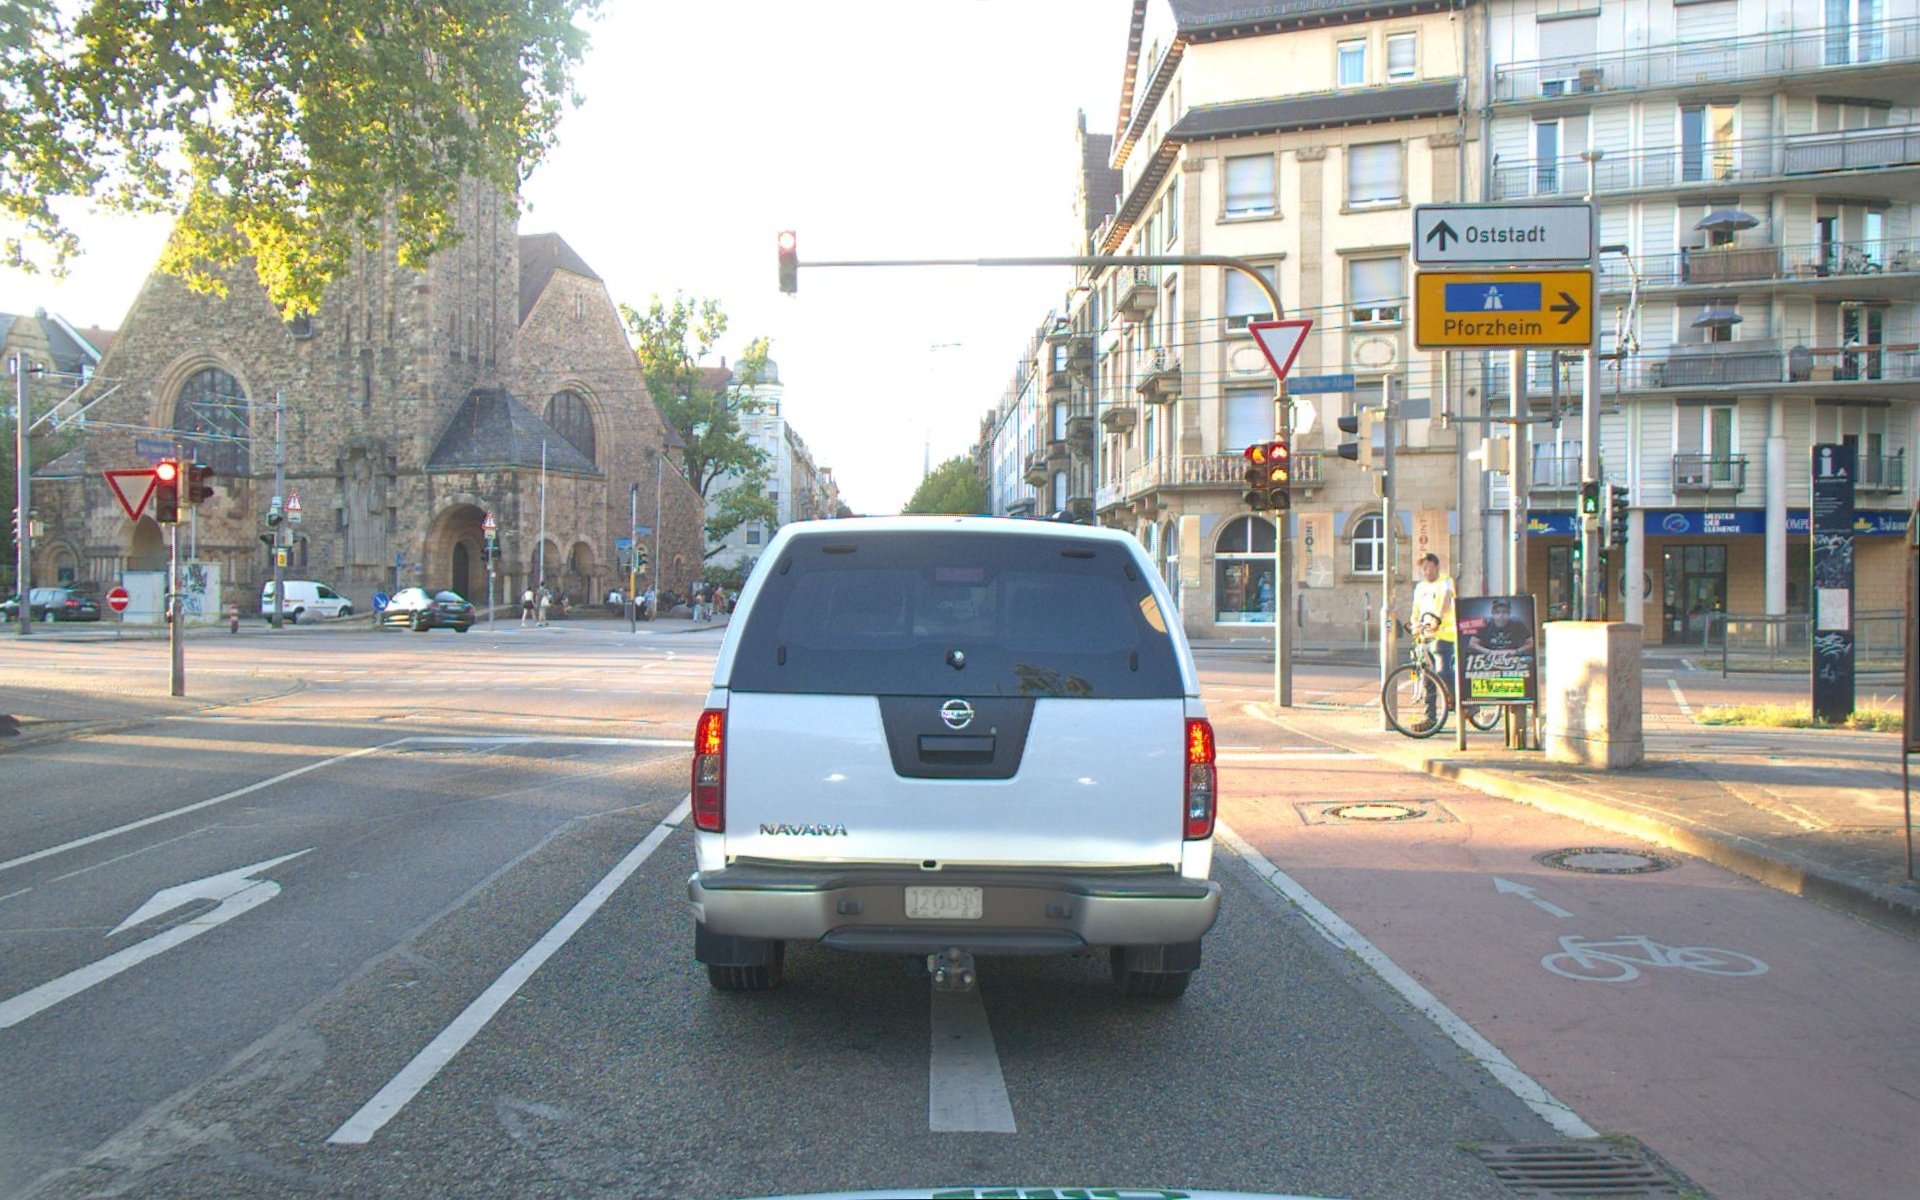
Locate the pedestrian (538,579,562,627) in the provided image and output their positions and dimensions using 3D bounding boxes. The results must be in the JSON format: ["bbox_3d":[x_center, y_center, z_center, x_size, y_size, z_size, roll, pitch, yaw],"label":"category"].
[{"bbox_3d":[-16.892,0.123,68.206,0.796,1.934,0.666,1,-1,-3],"label":"pedestrian"}]

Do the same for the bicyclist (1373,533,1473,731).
[{"bbox_3d":[4.479,0.307,15.996,0.690,1.856,0.621,1,-1,-33],"label":"bicyclist"}]

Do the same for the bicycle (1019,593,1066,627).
[{"bbox_3d":[3.289,0.392,65.709,1.781,1.259,0.410,-3,0,-3],"label":"bicycle"}]

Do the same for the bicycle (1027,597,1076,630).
[{"bbox_3d":[3.466,0.513,62.728,1.781,1.170,0.636,-3,0,-3],"label":"bicycle"}]

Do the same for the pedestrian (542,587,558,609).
[{"bbox_3d":[-18.627,-0.101,75.152,0.511,0.977,0.479,1,-1,18],"label":"pedestrian"}]

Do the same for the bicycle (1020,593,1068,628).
[{"bbox_3d":[3.279,0.419,64.377,1.781,1.259,0.477,-3,0,-3],"label":"bicycle"}]

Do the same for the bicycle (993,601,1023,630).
[{"bbox_3d":[1.858,0.605,64.051,1.055,1.042,0.317,-3,0,-3],"label":"bicycle"}]

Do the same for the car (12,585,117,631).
[{"bbox_3d":[-35.058,0.318,64.743,3.917,1.713,1.994,1,0,33],"label":"car"}]

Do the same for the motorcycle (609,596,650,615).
[{"bbox_3d":[-18.351,0.303,91.878,2.201,1.005,0.707,1,-1,-7],"label":"motorcycle"}]

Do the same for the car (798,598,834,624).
[{"bbox_3d":[-9.084,0.677,104.587,1.953,1.585,4.766,2,0,-2],"label":"car"}]

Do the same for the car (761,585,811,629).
[{"bbox_3d":[-7.826,0.284,74.664,1.953,1.815,4.796,0,2,-3],"label":"car"}]

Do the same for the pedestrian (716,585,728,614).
[{"bbox_3d":[-15.269,-0.036,106.059,0.632,1.888,0.559,1,-1,-15],"label":"pedestrian"}]

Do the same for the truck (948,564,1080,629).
[{"bbox_3d":[2.309,-0.143,69.273,5.630,2.610,2.250,1,0,-45],"label":"truck"}]

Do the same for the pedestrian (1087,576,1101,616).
[{"bbox_3d":[5.612,-0.158,69.466,0.517,1.683,0.547,1,-1,-1],"label":"pedestrian"}]

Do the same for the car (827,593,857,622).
[{"bbox_3d":[-8.489,0.571,118.963,1.953,2.049,4.948,0,-1,-2],"label":"car"}]

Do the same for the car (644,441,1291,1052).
[{"bbox_3d":[0.002,0.463,7.087,1.953,1.841,3.999,1,0,-1],"label":"car"}]

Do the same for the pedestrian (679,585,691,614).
[{"bbox_3d":[-16.601,-0.013,99.896,0.630,1.725,0.561,1,-1,-2],"label":"pedestrian"}]

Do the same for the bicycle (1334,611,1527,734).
[{"bbox_3d":[4.586,0.691,16.065,2.046,1.129,0.621,1,-1,-34],"label":"bicycle"}]

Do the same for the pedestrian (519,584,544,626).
[{"bbox_3d":[-17.680,0.206,68.293,0.796,1.699,0.859,1,-1,-3],"label":"pedestrian"}]

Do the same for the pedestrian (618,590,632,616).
[{"bbox_3d":[-16.655,0.160,82.347,0.468,1.267,0.523,1,-1,16],"label":"pedestrian"}]

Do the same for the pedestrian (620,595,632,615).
[{"bbox_3d":[-16.261,0.253,80.616,0.513,0.977,0.477,1,-1,-17],"label":"pedestrian"}]

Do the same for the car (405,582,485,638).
[{"bbox_3d":[-17.400,0.372,55.804,1.969,1.646,3.966,3,-4,-25],"label":"car"}]

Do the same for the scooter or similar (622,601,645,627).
[{"bbox_3d":[-15.278,0.654,77.425,0.620,1.122,1.079,2,2,15],"label":"scooter or similar"}]

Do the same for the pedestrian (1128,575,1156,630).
[{"bbox_3d":[6.069,0.093,55.020,0.771,1.810,0.543,1,-1,24],"label":"pedestrian"}]

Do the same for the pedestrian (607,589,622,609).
[{"bbox_3d":[-16.852,-0.038,80.612,0.510,0.977,0.479,1,-1,16],"label":"pedestrian"}]

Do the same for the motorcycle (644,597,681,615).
[{"bbox_3d":[-17.316,0.346,96.209,2.119,1.005,0.594,1,-1,19],"label":"motorcycle"}]

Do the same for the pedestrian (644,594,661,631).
[{"bbox_3d":[-14.578,0.610,78.426,0.620,1.728,0.603,1,-1,10],"label":"pedestrian"}]

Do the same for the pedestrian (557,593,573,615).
[{"bbox_3d":[-18.157,0.193,76.053,0.469,0.977,0.522,1,-1,29],"label":"pedestrian"}]

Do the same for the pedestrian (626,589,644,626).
[{"bbox_3d":[-15.449,0.351,78.662,0.620,1.728,0.603,1,1,13],"label":"pedestrian"}]

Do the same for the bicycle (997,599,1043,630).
[{"bbox_3d":[2.286,0.563,63.175,1.692,1.102,0.317,-3,0,-3],"label":"bicycle"}]

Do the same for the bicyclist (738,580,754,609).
[{"bbox_3d":[-12.225,-0.319,94.557,0.592,1.673,0.955,1,-1,-26],"label":"bicyclist"}]

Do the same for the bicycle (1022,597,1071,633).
[{"bbox_3d":[3.336,0.571,63.666,1.781,1.259,0.488,-3,0,-3],"label":"bicycle"}]

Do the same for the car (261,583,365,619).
[{"bbox_3d":[-29.121,0.062,74.586,1.679,1.543,4.454,1,0,23],"label":"car"}]

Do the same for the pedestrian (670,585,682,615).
[{"bbox_3d":[-16.808,0.013,97.861,0.631,1.725,0.560,1,-1,-9],"label":"pedestrian"}]

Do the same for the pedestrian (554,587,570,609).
[{"bbox_3d":[-18.013,-0.091,74.886,0.511,0.977,0.479,1,-1,18],"label":"pedestrian"}]

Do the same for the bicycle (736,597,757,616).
[{"bbox_3d":[-12.193,0.362,94.482,0.591,1.062,1.929,1,0,-26],"label":"bicycle"}]
